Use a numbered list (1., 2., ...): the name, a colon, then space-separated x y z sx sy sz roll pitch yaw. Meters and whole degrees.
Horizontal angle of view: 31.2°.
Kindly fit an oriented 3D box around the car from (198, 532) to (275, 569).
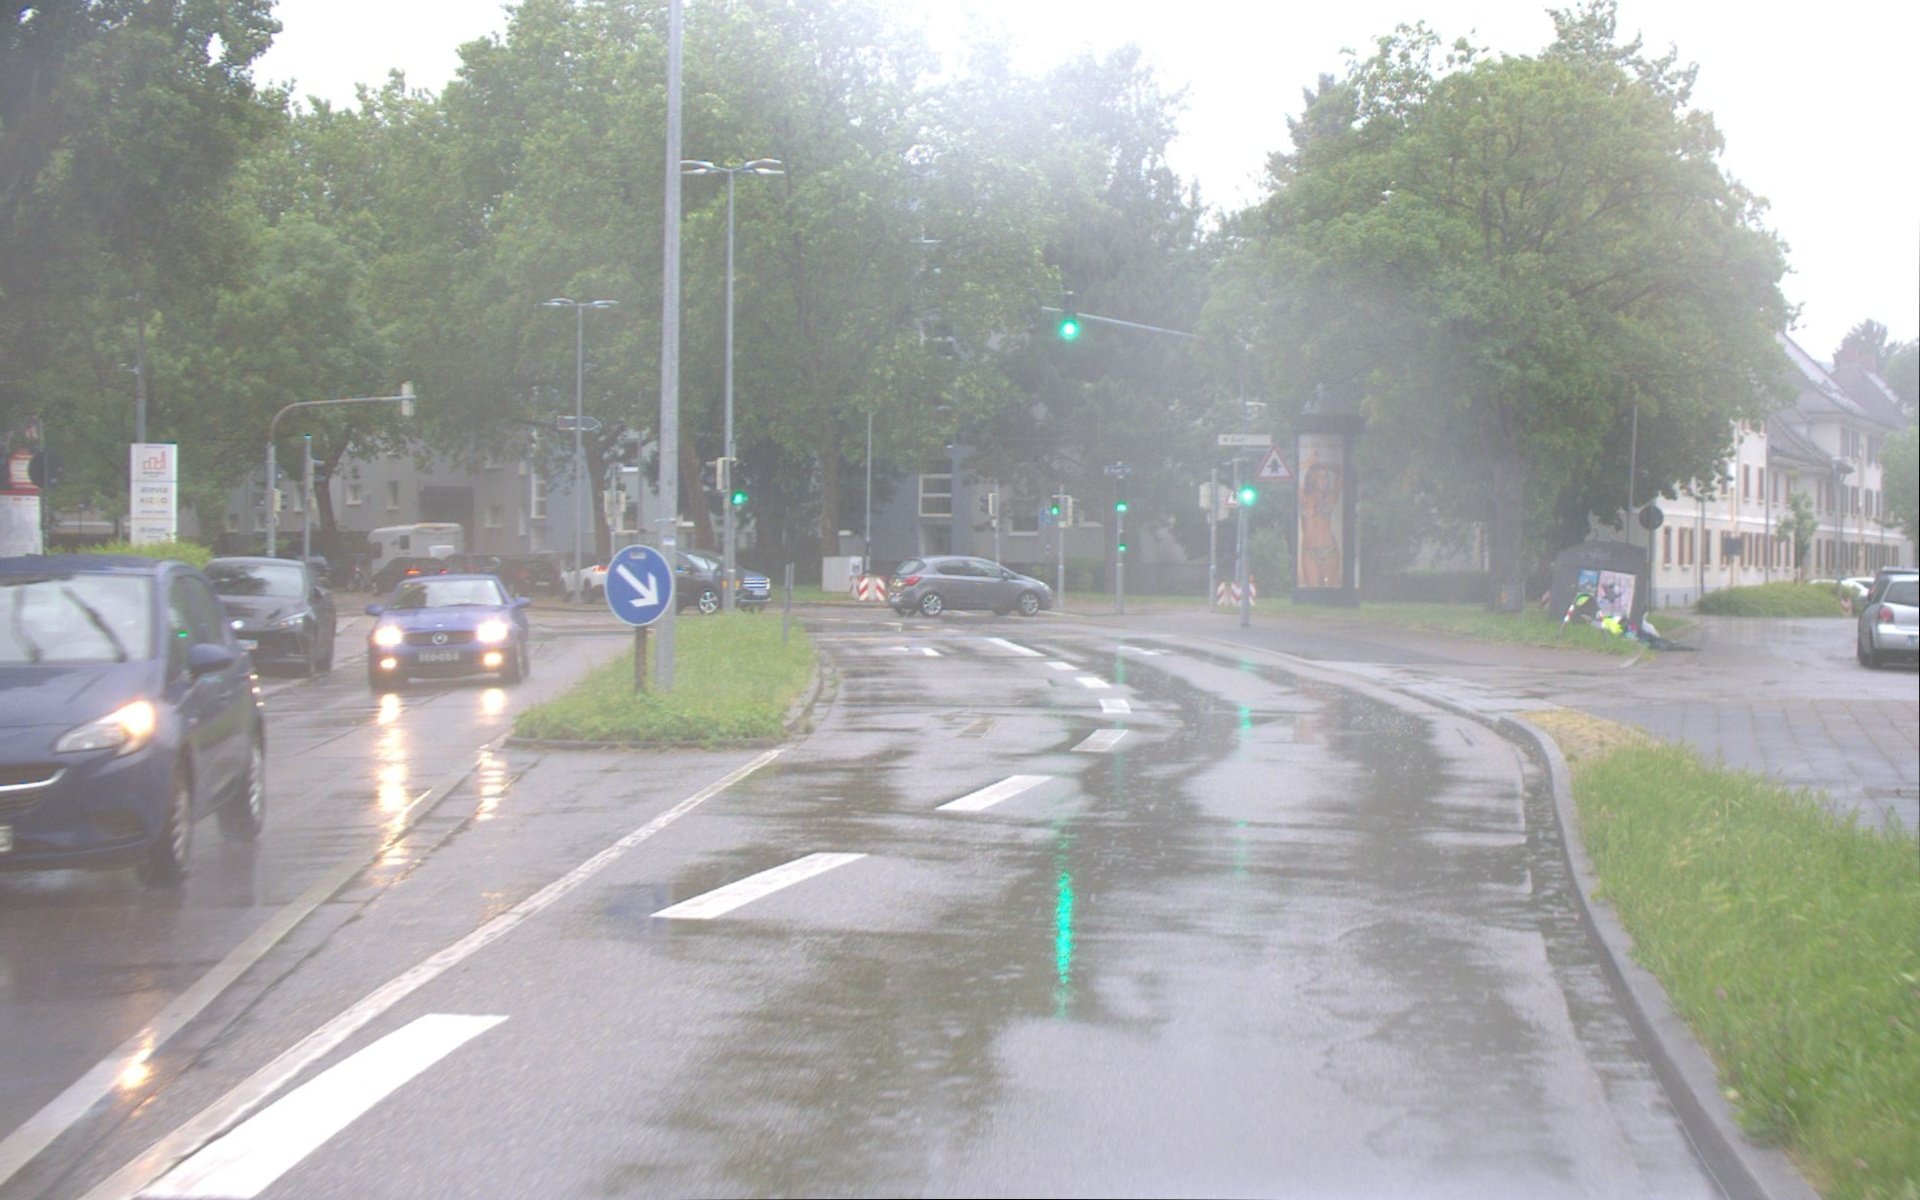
1. car: -33.014 -2.270 156.848 1.916 1.615 4.370 1 0 -33

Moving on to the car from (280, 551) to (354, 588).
1. car: -26.010 -1.251 138.980 1.706 1.406 3.644 -2 2 -32

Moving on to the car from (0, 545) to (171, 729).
1. car: -7.783 0.247 28.563 1.726 1.378 4.180 3 0 -4

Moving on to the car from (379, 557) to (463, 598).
1. car: -19.821 -0.833 126.289 1.706 1.406 3.644 -2 2 -32

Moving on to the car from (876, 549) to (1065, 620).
1. car: 0.242 -0.374 82.183 4.074 1.597 2.001 1 0 -17

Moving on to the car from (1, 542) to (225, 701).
1. car: -8.445 0.186 34.564 1.601 1.469 4.123 1 0 -6

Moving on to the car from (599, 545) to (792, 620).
1. car: -6.544 -0.434 85.139 4.294 1.738 1.998 2 0 16

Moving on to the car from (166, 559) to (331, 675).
1. car: -9.237 0.196 44.873 1.544 1.392 4.195 2 0 -5

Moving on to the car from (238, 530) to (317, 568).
1. car: -30.204 -2.249 152.041 1.916 1.615 4.370 1 0 -33

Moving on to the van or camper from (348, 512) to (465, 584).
1. van or camper: -22.522 -2.096 139.735 2.319 2.798 6.864 1 0 -30

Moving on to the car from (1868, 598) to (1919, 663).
1. car: 24.927 0.790 90.318 1.855 1.649 4.301 2 0 17

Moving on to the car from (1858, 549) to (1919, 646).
1. car: 14.880 -0.028 53.065 1.635 1.428 4.175 1 0 11

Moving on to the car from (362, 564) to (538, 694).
1. car: -5.924 0.303 40.279 1.726 1.388 3.951 -2 1 -4

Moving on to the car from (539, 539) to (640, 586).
1. car: -11.608 -1.187 107.566 1.706 1.406 3.644 -2 2 -32

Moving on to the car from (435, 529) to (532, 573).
1. car: -18.145 -1.866 130.740 1.916 1.615 4.453 1 0 -33

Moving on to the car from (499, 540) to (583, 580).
1. car: -15.431 -1.471 126.529 1.548 1.385 4.150 1 0 -30

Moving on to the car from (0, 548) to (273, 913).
1. car: -4.344 0.519 16.037 1.706 1.496 3.946 0 0 -3
